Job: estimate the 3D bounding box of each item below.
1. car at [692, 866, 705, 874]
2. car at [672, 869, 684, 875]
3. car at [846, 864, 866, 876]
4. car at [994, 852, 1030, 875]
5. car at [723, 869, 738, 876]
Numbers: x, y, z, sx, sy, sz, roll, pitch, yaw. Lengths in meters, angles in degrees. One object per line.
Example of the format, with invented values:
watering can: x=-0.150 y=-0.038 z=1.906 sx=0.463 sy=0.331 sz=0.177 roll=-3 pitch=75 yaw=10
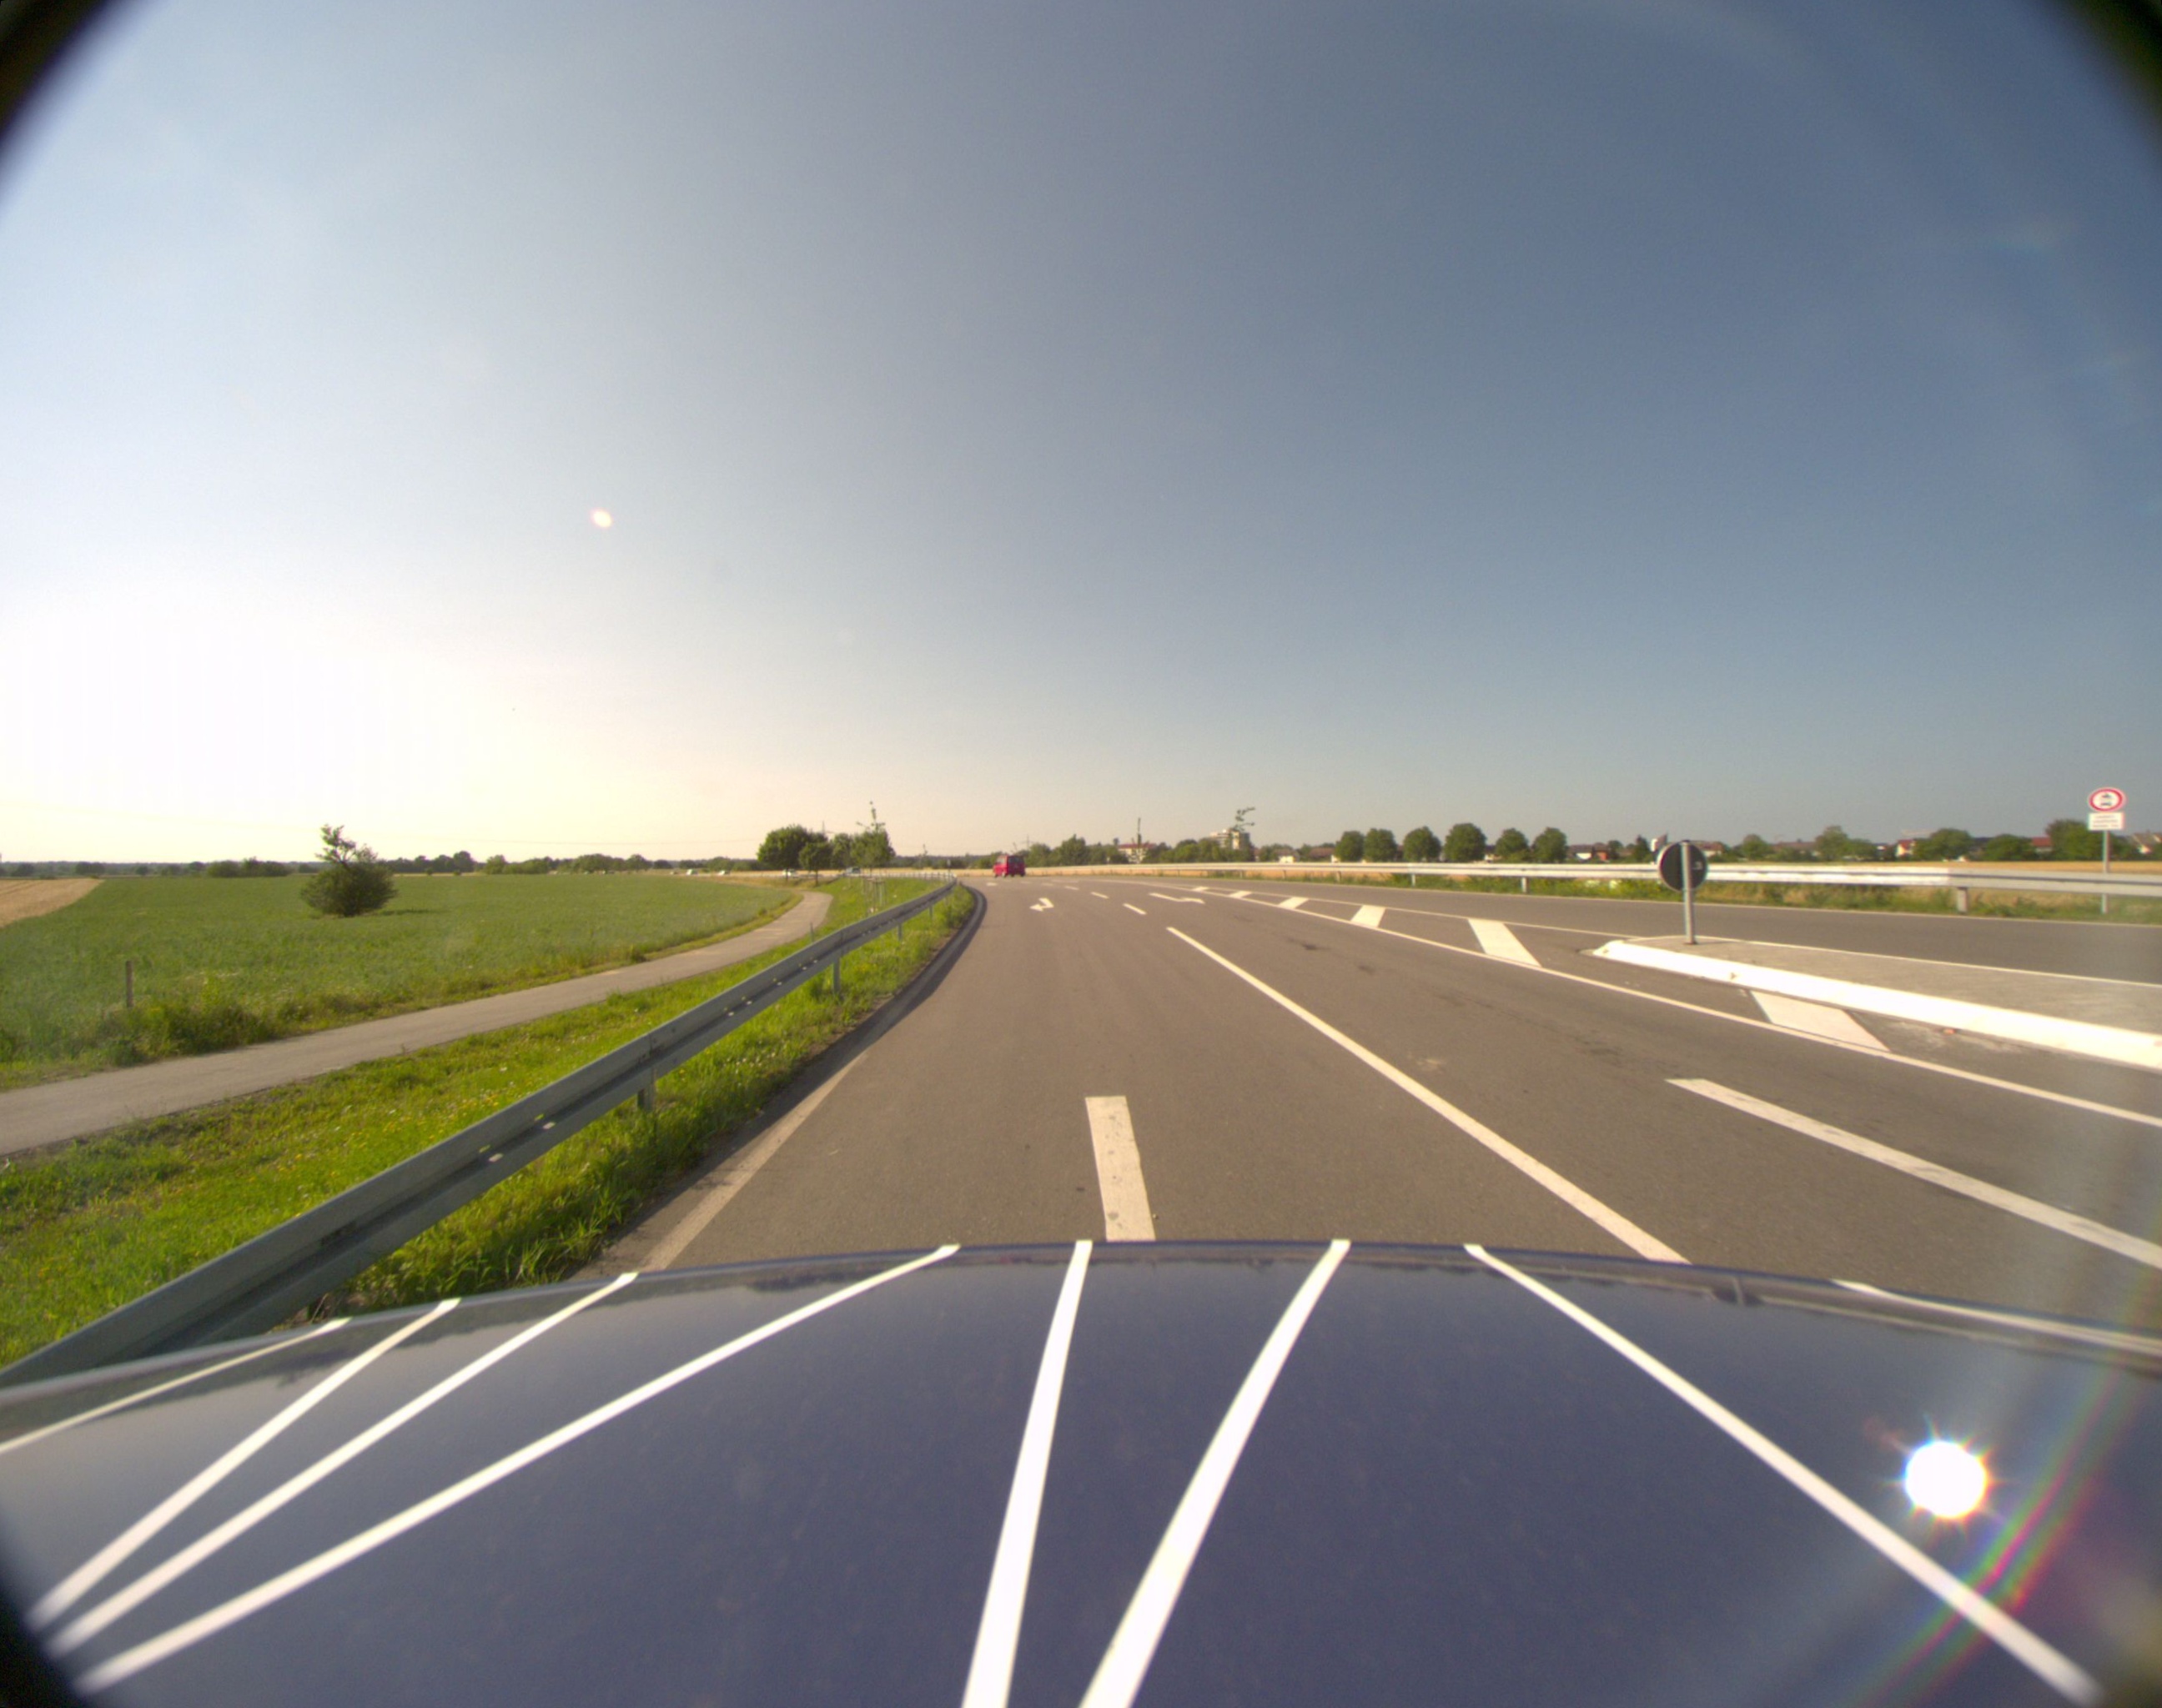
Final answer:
car: x=-102.624 y=4.268 z=203.787 sx=2.125 sy=2.001 sz=5.142 roll=-2 pitch=-2 yaw=-36
car: x=-115.168 y=5.275 z=217.118 sx=1.804 sy=1.439 sz=4.694 roll=-2 pitch=-3 yaw=-45
car: x=-37.346 y=2.604 z=125.982 sx=1.700 sy=1.664 sz=4.849 roll=-3 pitch=4 yaw=-34
car: x=-6.318 y=0.881 z=69.069 sx=1.841 sy=1.929 sz=4.917 roll=-1 pitch=-1 yaw=-22
car: x=-83.429 y=4.449 z=180.821 sx=2.125 sy=1.484 sz=5.141 roll=-2 pitch=-2 yaw=-37
